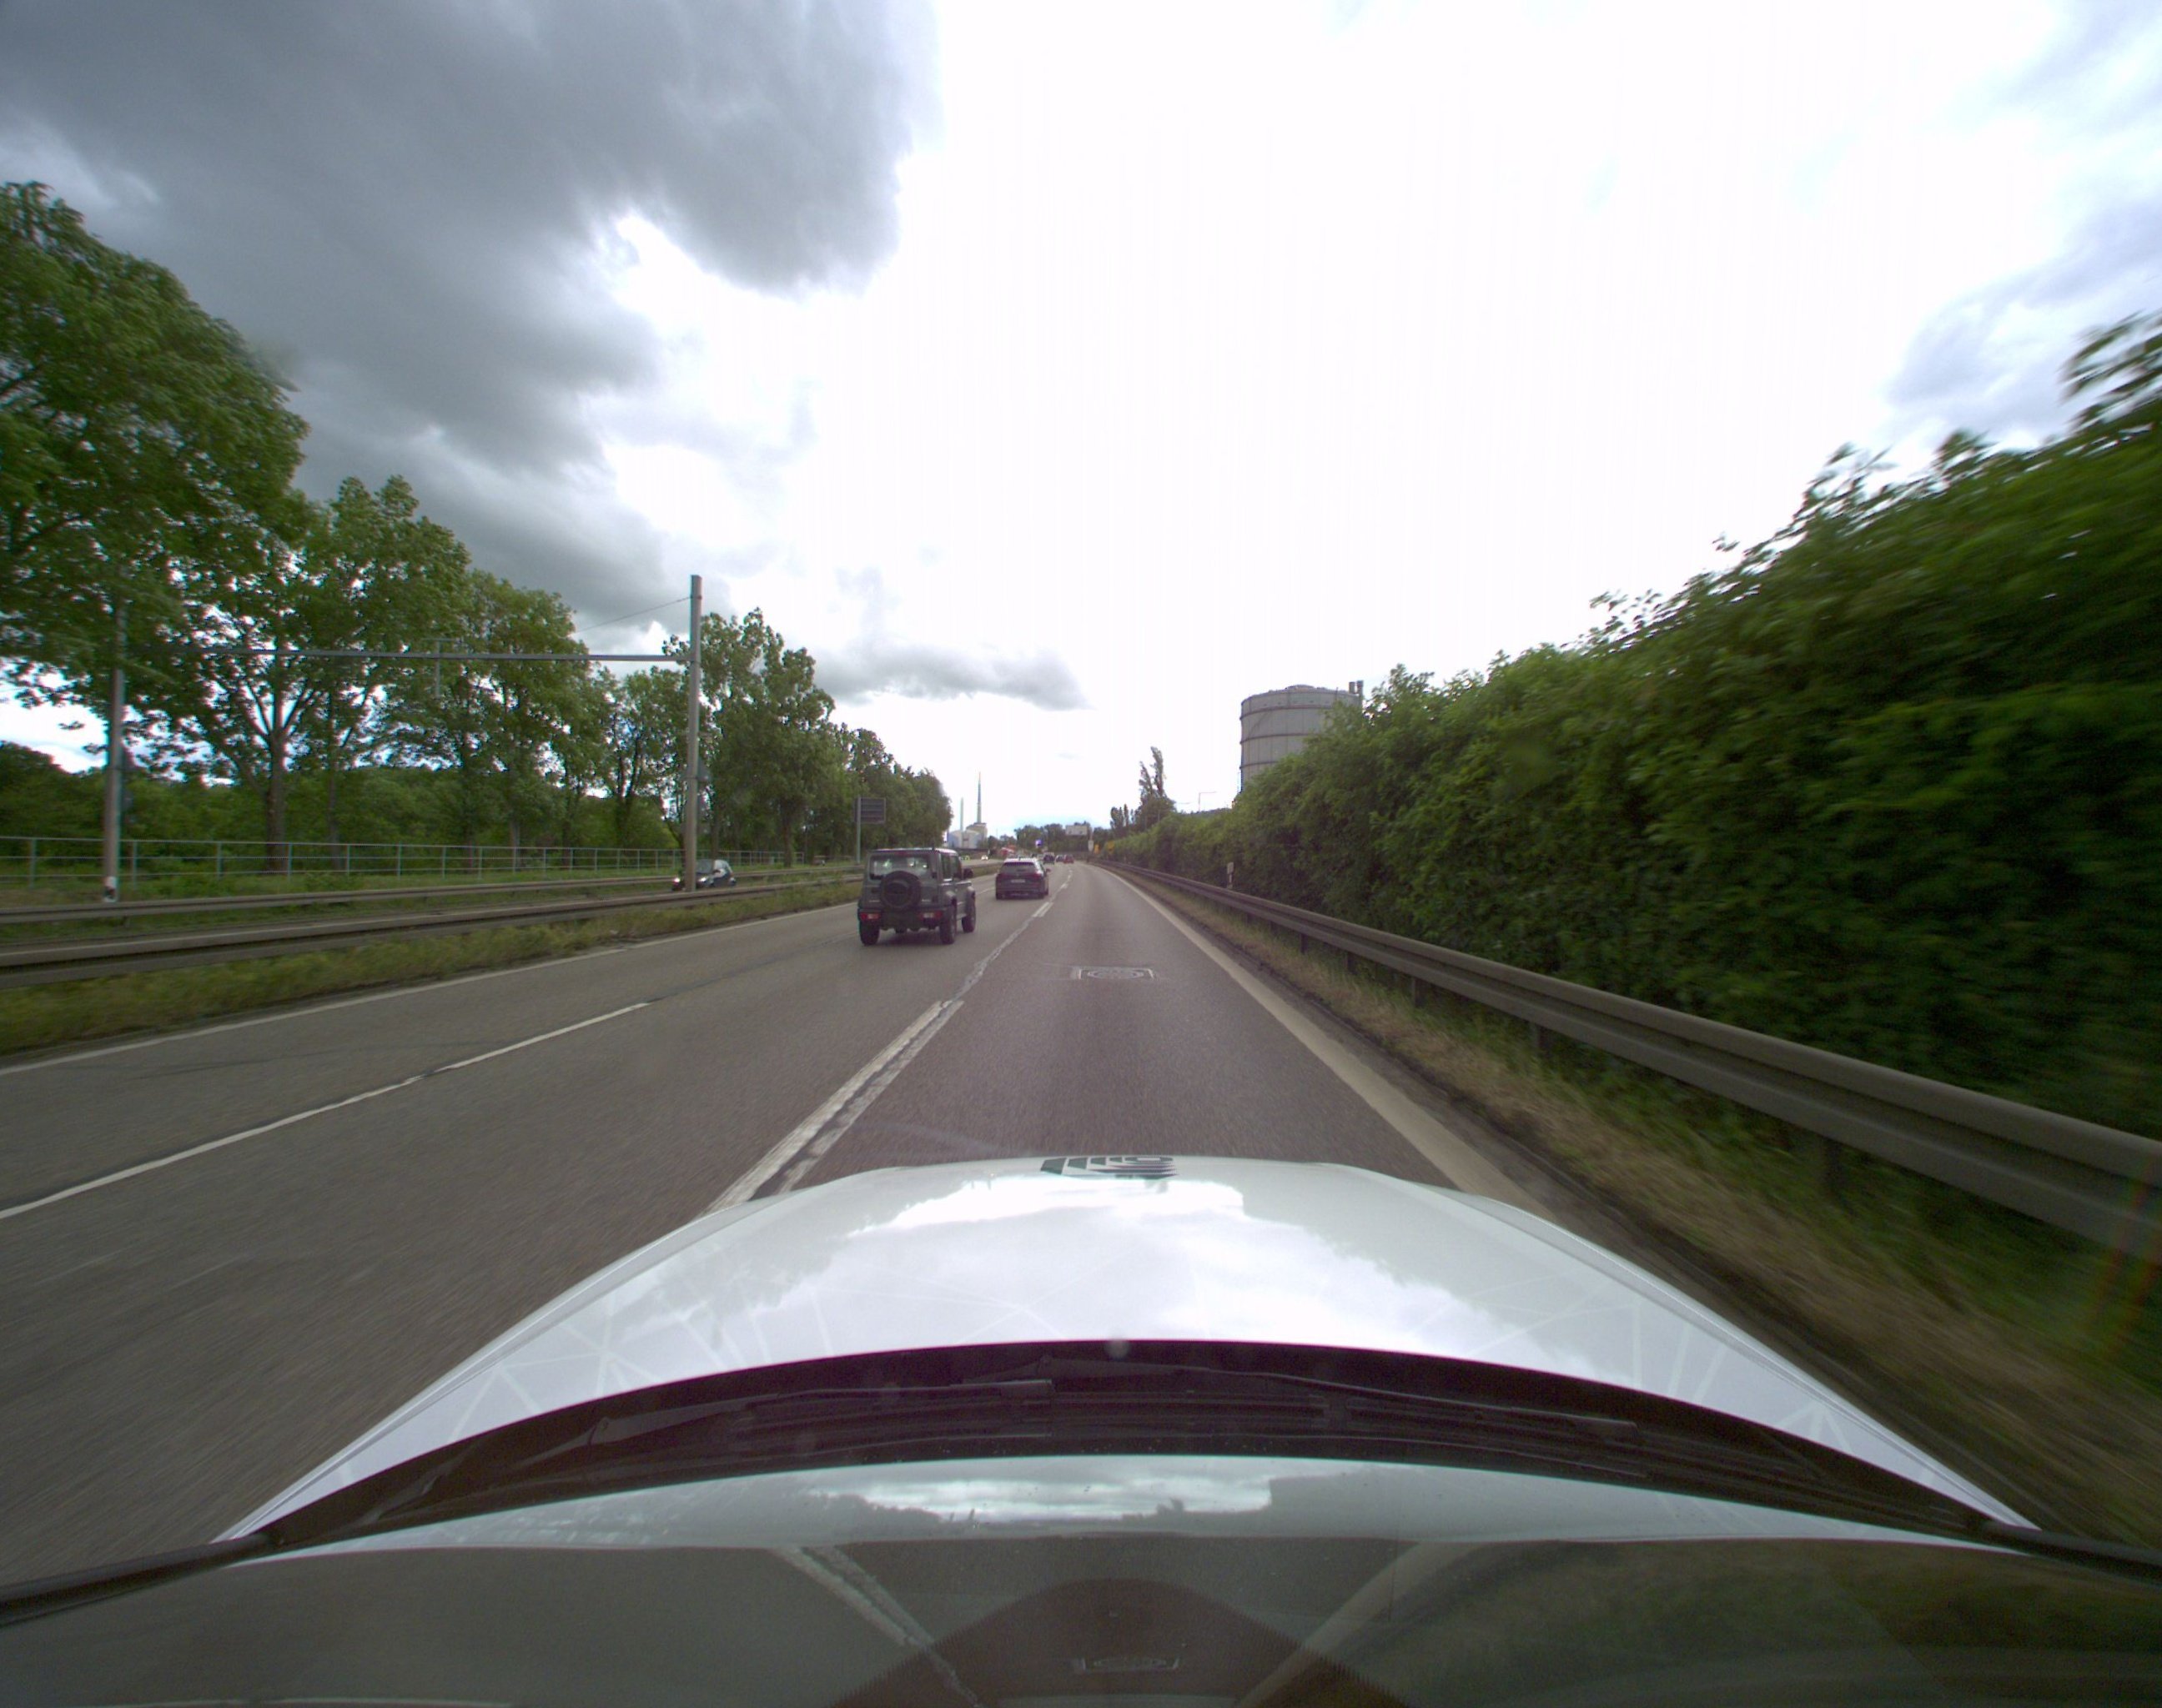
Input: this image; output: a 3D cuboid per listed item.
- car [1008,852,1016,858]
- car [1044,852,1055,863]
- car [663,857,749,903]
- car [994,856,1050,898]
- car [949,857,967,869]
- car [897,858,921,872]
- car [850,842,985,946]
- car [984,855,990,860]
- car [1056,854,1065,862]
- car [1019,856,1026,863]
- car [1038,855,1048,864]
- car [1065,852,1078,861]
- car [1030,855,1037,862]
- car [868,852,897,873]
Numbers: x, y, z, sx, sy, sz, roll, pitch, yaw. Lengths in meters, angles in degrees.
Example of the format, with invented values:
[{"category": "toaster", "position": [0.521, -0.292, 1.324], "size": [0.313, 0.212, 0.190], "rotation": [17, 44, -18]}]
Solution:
[{"category": "car", "position": [-22.029, 0.220, 259.683], "size": [2.014, 1.934, 4.883], "rotation": [-1, 0, -10]}, {"category": "car", "position": [-5.178, 0.588, 133.559], "size": [1.694, 1.742, 3.995], "rotation": [0, 0, -4]}, {"category": "car", "position": [-15.338, 1.037, 33.513], "size": [1.719, 1.775, 3.743], "rotation": [0, 0, 2]}, {"category": "car", "position": [-2.114, 0.792, 30.415], "size": [1.840, 1.423, 4.897], "rotation": [1, 0, -2]}, {"category": "car", "position": [-15.409, 1.149, 101.811], "size": [1.655, 1.424, 3.911], "rotation": [0, 0, 0]}, {"category": "car", "position": [-19.141, 1.173, 90.593], "size": [1.712, 1.465, 4.380], "rotation": [0, 0, 0]}, {"category": "car", "position": [-2.968, 0.667, 15.607], "size": [1.692, 1.686, 4.000], "rotation": [-1, 0, 0]}, {"category": "car", "position": [-27.574, 1.039, 238.114], "size": [1.611, 1.386, 3.727], "rotation": [0, 0, -4]}, {"category": "car", "position": [-4.318, 0.796, 169.515], "size": [1.694, 1.742, 4.387], "rotation": [-1, 0, -4]}, {"category": "car", "position": [-15.807, 1.410, 218.963], "size": [1.696, 1.742, 4.382], "rotation": [-1, 0, -7]}, {"category": "car", "position": [-9.300, 1.338, 198.718], "size": [2.012, 1.934, 4.887], "rotation": [-1, 0, -8]}, {"category": "car", "position": [-1.644, 0.469, 142.843], "size": [1.971, 1.423, 4.892], "rotation": [-1, 0, -5]}, {"category": "car", "position": [-12.747, 1.183, 218.337], "size": [2.010, 1.934, 4.892], "rotation": [-1, 0, -5]}, {"category": "car", "position": [-18.499, 0.742, 76.005], "size": [1.605, 1.883, 4.561], "rotation": [0, 0, 0]}]
